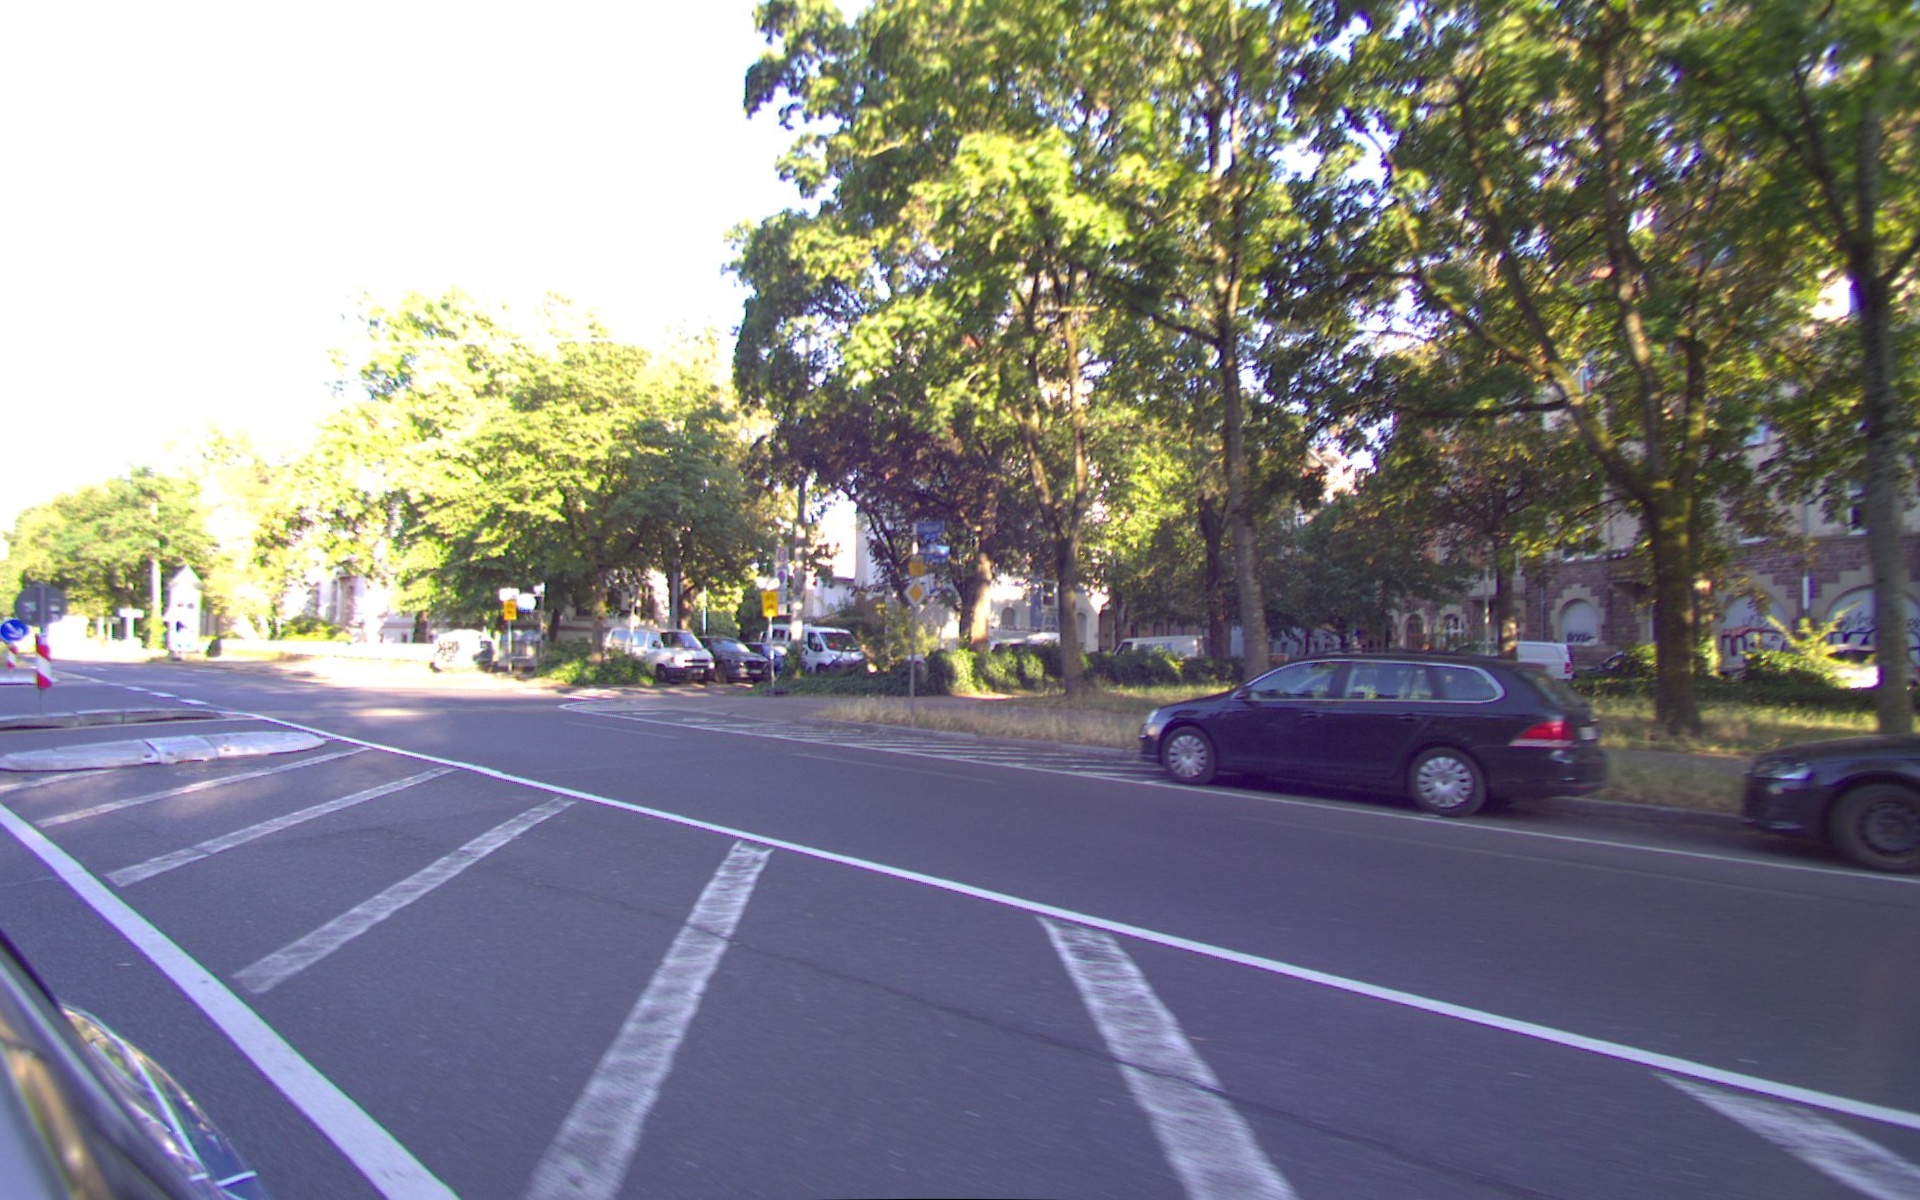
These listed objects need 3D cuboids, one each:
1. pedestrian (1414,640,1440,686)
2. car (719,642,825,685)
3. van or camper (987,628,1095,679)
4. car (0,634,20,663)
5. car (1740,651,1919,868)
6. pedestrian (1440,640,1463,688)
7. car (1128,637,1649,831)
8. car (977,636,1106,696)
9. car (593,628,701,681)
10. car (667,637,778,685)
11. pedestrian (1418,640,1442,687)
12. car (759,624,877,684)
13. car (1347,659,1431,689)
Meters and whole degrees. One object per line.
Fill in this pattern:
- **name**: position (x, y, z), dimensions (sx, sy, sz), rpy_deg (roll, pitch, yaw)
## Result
- **pedestrian**: position (14.477, 1.948, 31.362), dimensions (0.450, 1.406, 0.560), rpy_deg (2, -3, -18)
- **car**: position (-7.359, 2.437, 39.504), dimensions (3.995, 1.551, 1.974), rpy_deg (-2, -3, 39)
- **van or camper**: position (4.144, 2.734, 52.351), dimensions (5.425, 2.490, 2.044), rpy_deg (-2, -3, 41)
- **car**: position (-59.981, 2.981, 62.986), dimensions (4.569, 1.719, 1.855), rpy_deg (-2, -6, 45)
- **car**: position (7.847, 1.094, 6.609), dimensions (4.241, 1.440, 1.611), rpy_deg (-2, -5, 42)
- **pedestrian**: position (14.600, 1.898, 30.063), dimensions (0.558, 1.406, 0.452), rpy_deg (-1, -4, 36)
- **car**: position (4.048, 1.154, 10.157), dimensions (4.544, 1.518, 1.606), rpy_deg (-2, -4, 43)
- **car**: position (2.747, 2.195, 34.604), dimensions (3.995, 1.896, 1.974), rpy_deg (-2, -2, 39)
- **car**: position (-11.305, 1.916, 36.493), dimensions (3.995, 1.809, 1.801), rpy_deg (-2, -3, 39)
- **car**: position (-8.842, 2.205, 37.574), dimensions (3.995, 1.674, 1.974), rpy_deg (-2, -3, 39)
- **pedestrian**: position (14.129, 1.901, 30.411), dimensions (0.558, 1.406, 0.452), rpy_deg (-1, -4, 36)
- **car**: position (-5.893, 2.176, 41.571), dimensions (2.190, 2.306, 5.101), rpy_deg (2, -3, -45)
- **car**: position (21.615, 3.699, 51.140), dimensions (1.862, 1.409, 4.010), rpy_deg (1, -3, -14)
